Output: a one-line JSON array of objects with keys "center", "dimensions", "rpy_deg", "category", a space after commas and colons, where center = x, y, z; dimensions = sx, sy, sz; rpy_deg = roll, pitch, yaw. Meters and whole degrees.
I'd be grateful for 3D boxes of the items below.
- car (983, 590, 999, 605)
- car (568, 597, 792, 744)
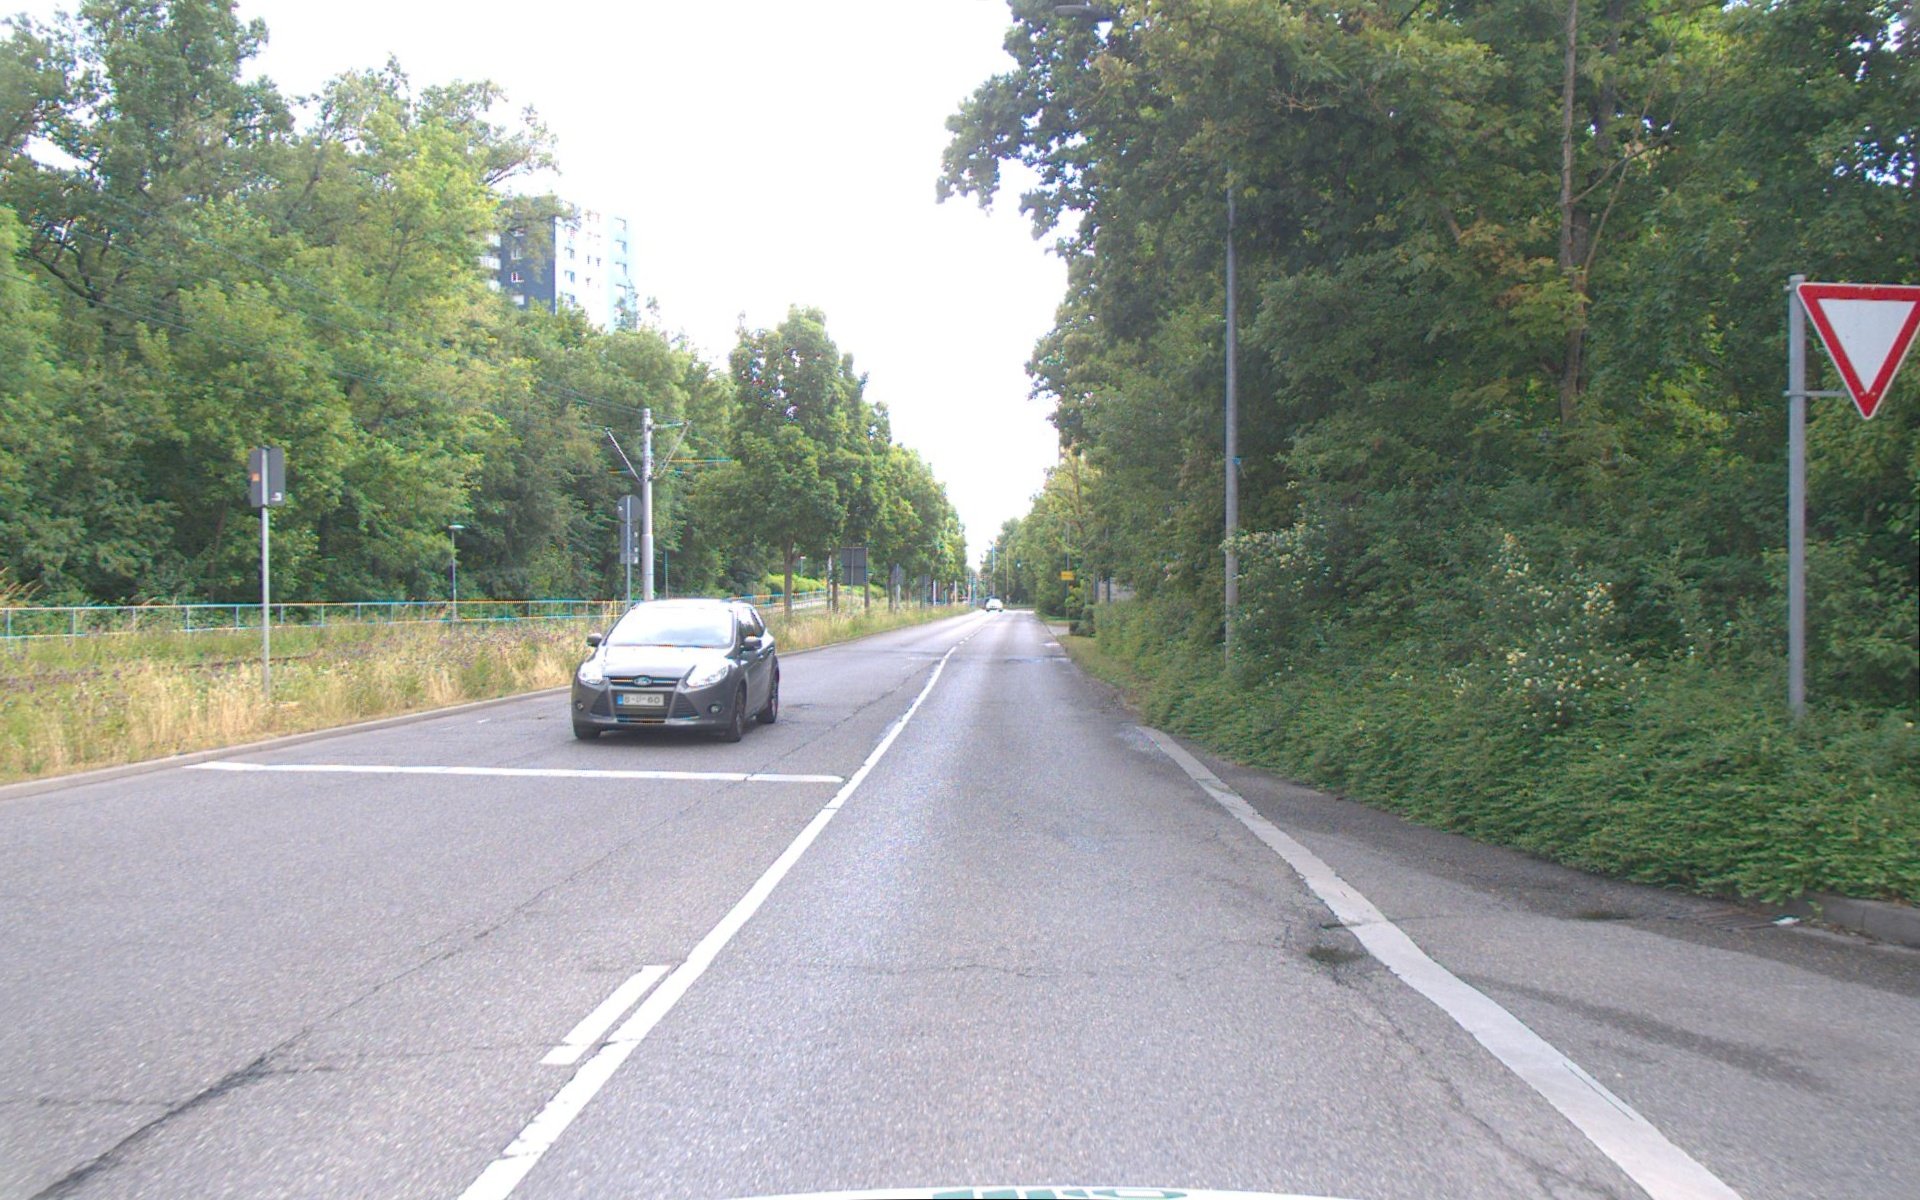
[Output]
[{"center": [3.707, -0.321, 196.459], "dimensions": [1.681, 1.657, 4.001], "rpy_deg": [-6, 0, 2], "category": "car"}, {"center": [-3.010, 0.695, 18.675], "dimensions": [1.719, 1.459, 4.429], "rpy_deg": [0, 0, 1], "category": "car"}]
